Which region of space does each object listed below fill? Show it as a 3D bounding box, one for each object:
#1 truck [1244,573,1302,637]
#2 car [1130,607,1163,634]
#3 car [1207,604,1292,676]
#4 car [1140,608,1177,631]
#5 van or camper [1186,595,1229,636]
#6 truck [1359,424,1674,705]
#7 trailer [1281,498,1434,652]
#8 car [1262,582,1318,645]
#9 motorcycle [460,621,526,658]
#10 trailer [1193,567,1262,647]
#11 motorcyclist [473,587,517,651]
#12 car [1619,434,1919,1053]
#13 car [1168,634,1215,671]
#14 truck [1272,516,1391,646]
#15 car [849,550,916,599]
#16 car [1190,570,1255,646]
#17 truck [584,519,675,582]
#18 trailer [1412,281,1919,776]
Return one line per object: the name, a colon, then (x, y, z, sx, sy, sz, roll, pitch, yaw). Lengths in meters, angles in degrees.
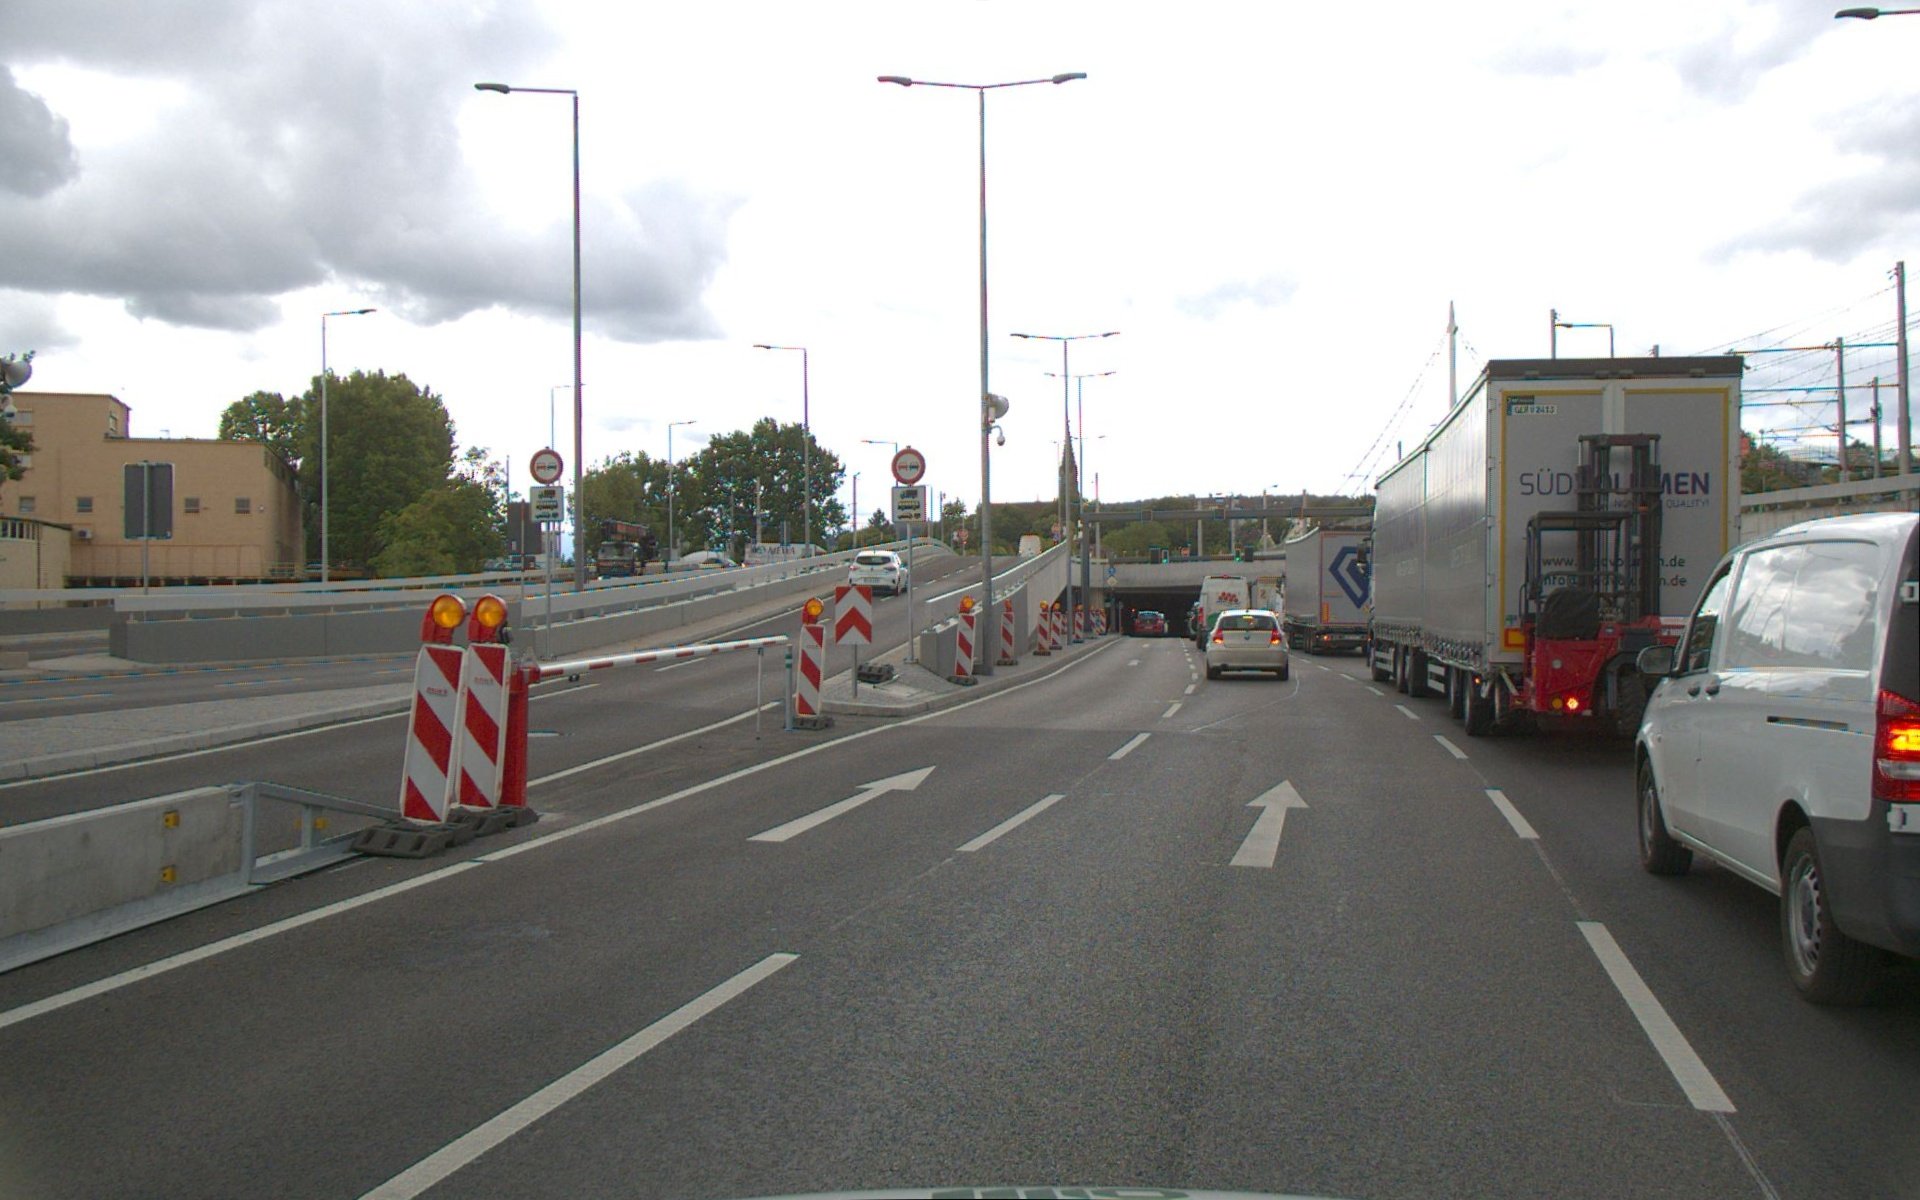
truck: (16.513, 0.315, 87.710, 2.593, 3.241, 7.431, -1, -1, 8)
car: (11.123, 1.232, 98.957, 1.626, 1.514, 3.567, 0, -2, 1)
car: (6.178, 0.828, 35.646, 1.680, 1.422, 4.350, 1, 0, 9)
car: (12.750, 1.242, 106.562, 1.952, 1.411, 4.000, 1, 0, 1)
van or camper: (12.525, 0.816, 83.967, 1.951, 1.878, 5.511, 1, -2, 7)
truck: (9.731, -0.515, 30.521, 3.645, 4.214, 10.992, 1, 0, 9)
trailer: (13.475, -0.734, 57.300, 3.724, 4.712, 12.122, 1, 0, 7)
car: (15.559, 0.639, 78.348, 2.031, 2.822, 7.331, 1, 0, 7)
motorcycle: (-12.158, 1.030, 43.172, 0.650, 0.933, 2.396, 1, -1, 11)
trailer: (9.657, 0.286, 59.988, 2.059, 2.685, 4.812, 3, -1, 6)
motorcyclist: (-12.148, 0.505, 43.196, 0.650, 1.634, 1.104, 1, -1, 11)
car: (4.595, 0.509, 7.758, 1.951, 2.025, 5.203, 1, 0, 12)
car: (10.752, 2.442, 77.158, 1.647, 1.572, 3.693, 2, 0, 0)
truck: (14.299, -0.690, 64.235, 3.724, 4.712, 7.447, 1, 0, 7)
car: (-2.576, -0.830, 55.538, 1.707, 1.457, 3.777, 3, -1, 5)
car: (10.058, 0.352, 63.702, 2.014, 2.674, 5.946, 3, -1, 6)
truck: (-19.347, -2.974, 97.562, 2.675, 3.448, 10.625, 2, 2, 3)
trailer: (7.776, -0.588, 19.728, 3.645, 4.214, 10.992, 1, 0, 10)
